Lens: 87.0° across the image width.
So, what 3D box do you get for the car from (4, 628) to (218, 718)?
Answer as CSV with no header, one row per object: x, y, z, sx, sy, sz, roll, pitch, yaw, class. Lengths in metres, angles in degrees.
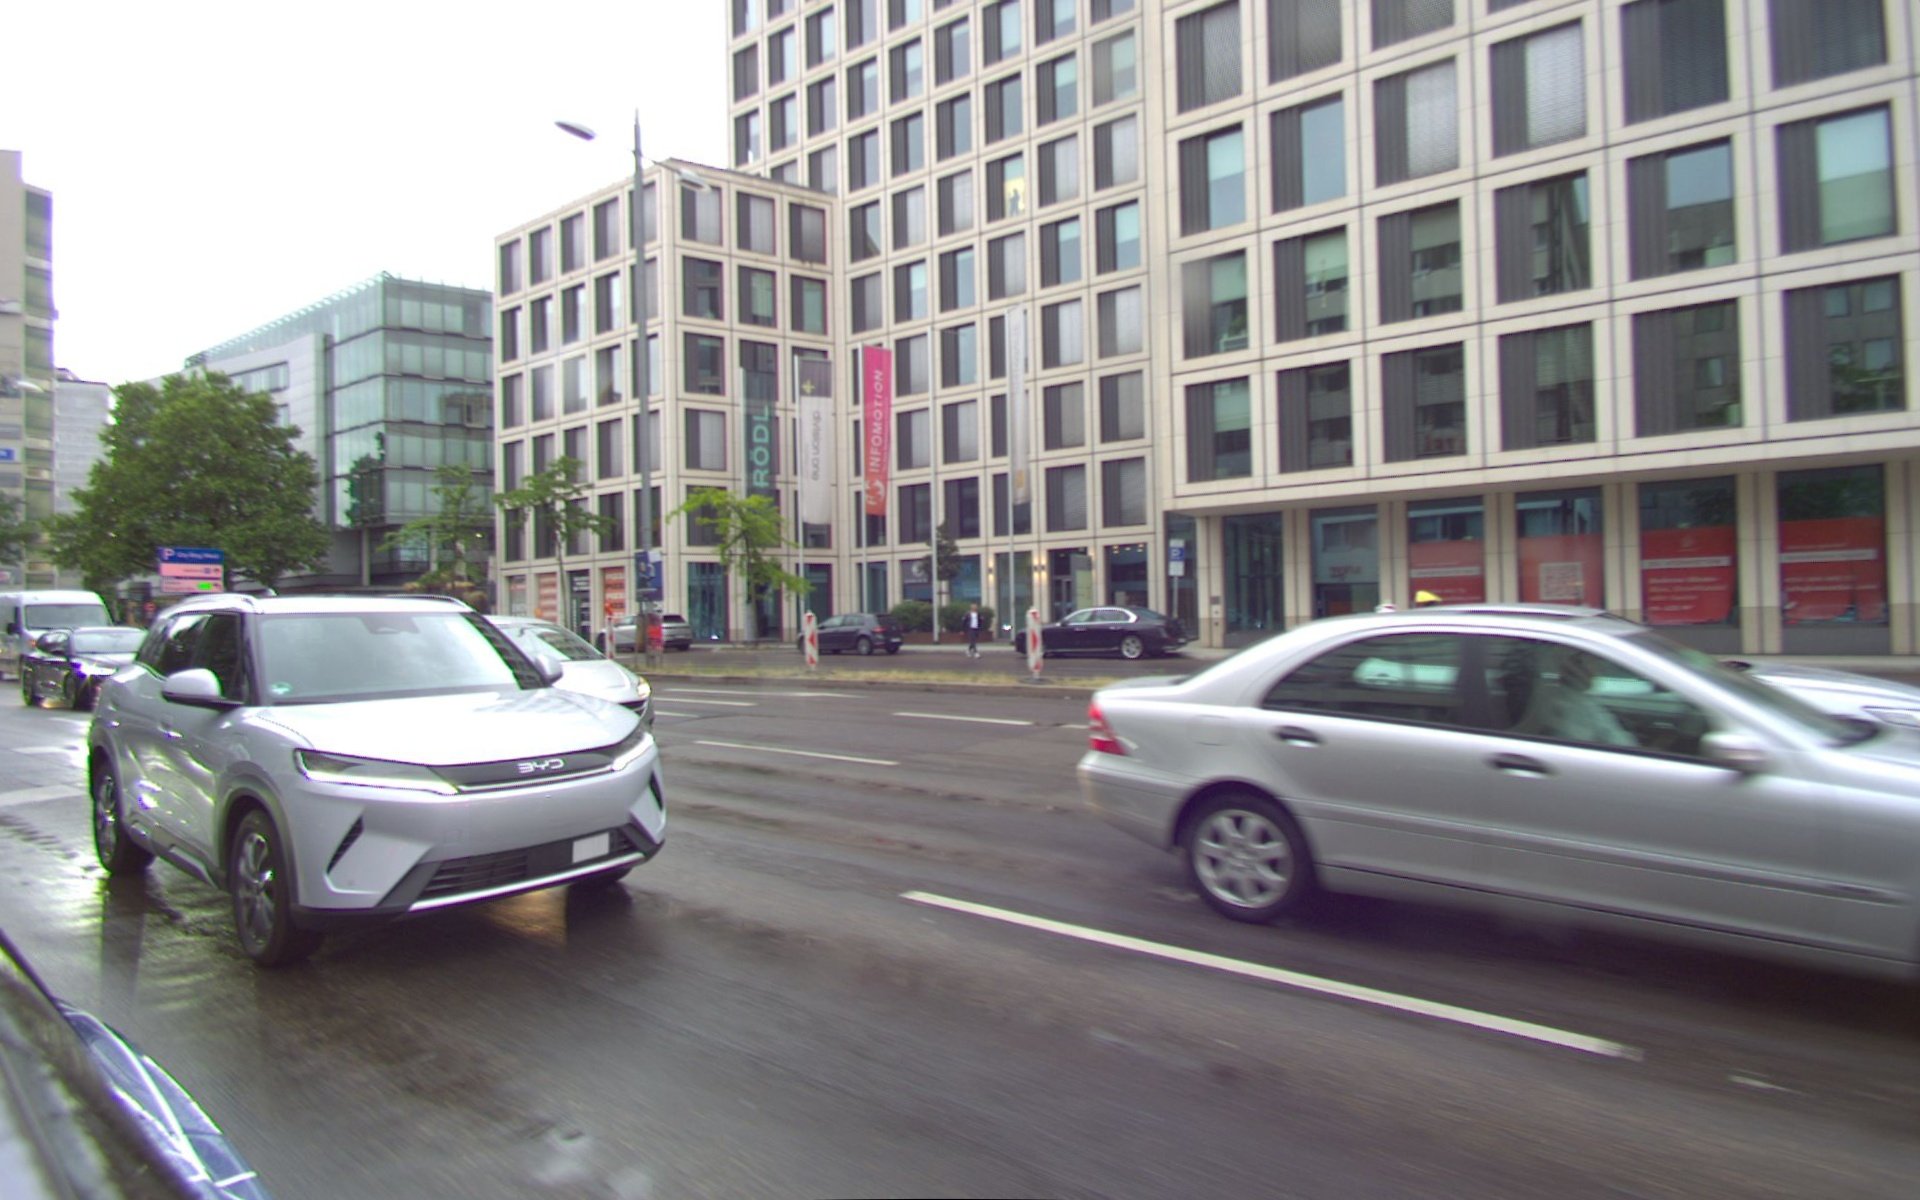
-15.790,1.264,18.770,4.229,1.412,1.885,-1,0,33,car

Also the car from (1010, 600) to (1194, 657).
4.128,0.854,29.903,5.168,1.581,1.684,-1,-2,33,car

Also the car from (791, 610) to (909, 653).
-3.858,1.101,35.324,3.944,1.435,1.684,-1,-2,33,car

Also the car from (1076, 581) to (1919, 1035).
2.827,0.652,4.420,4.378,1.414,1.716,-1,0,39,car

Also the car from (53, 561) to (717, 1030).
-3.395,0.707,5.625,4.166,1.673,1.790,-1,0,39,car

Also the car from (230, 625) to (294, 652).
-43.432,2.381,62.961,4.273,1.540,1.784,-1,0,33,car

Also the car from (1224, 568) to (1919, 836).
4.651,0.591,7.689,4.797,1.533,1.813,-1,0,40,car

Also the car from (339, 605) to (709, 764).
-5.018,0.849,11.535,4.110,1.490,1.758,-1,0,30,car

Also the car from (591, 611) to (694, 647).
-13.171,1.204,41.881,4.361,1.435,1.684,-1,-2,33,car

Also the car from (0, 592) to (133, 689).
-25.118,1.050,27.806,5.706,2.403,2.234,-1,0,35,car

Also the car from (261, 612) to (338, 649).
-39.218,1.786,60.075,4.900,2.029,1.978,-1,0,33,car

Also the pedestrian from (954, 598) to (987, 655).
0.342,0.832,31.918,0.612,1.747,0.957,-1,0,31,pedestrian
